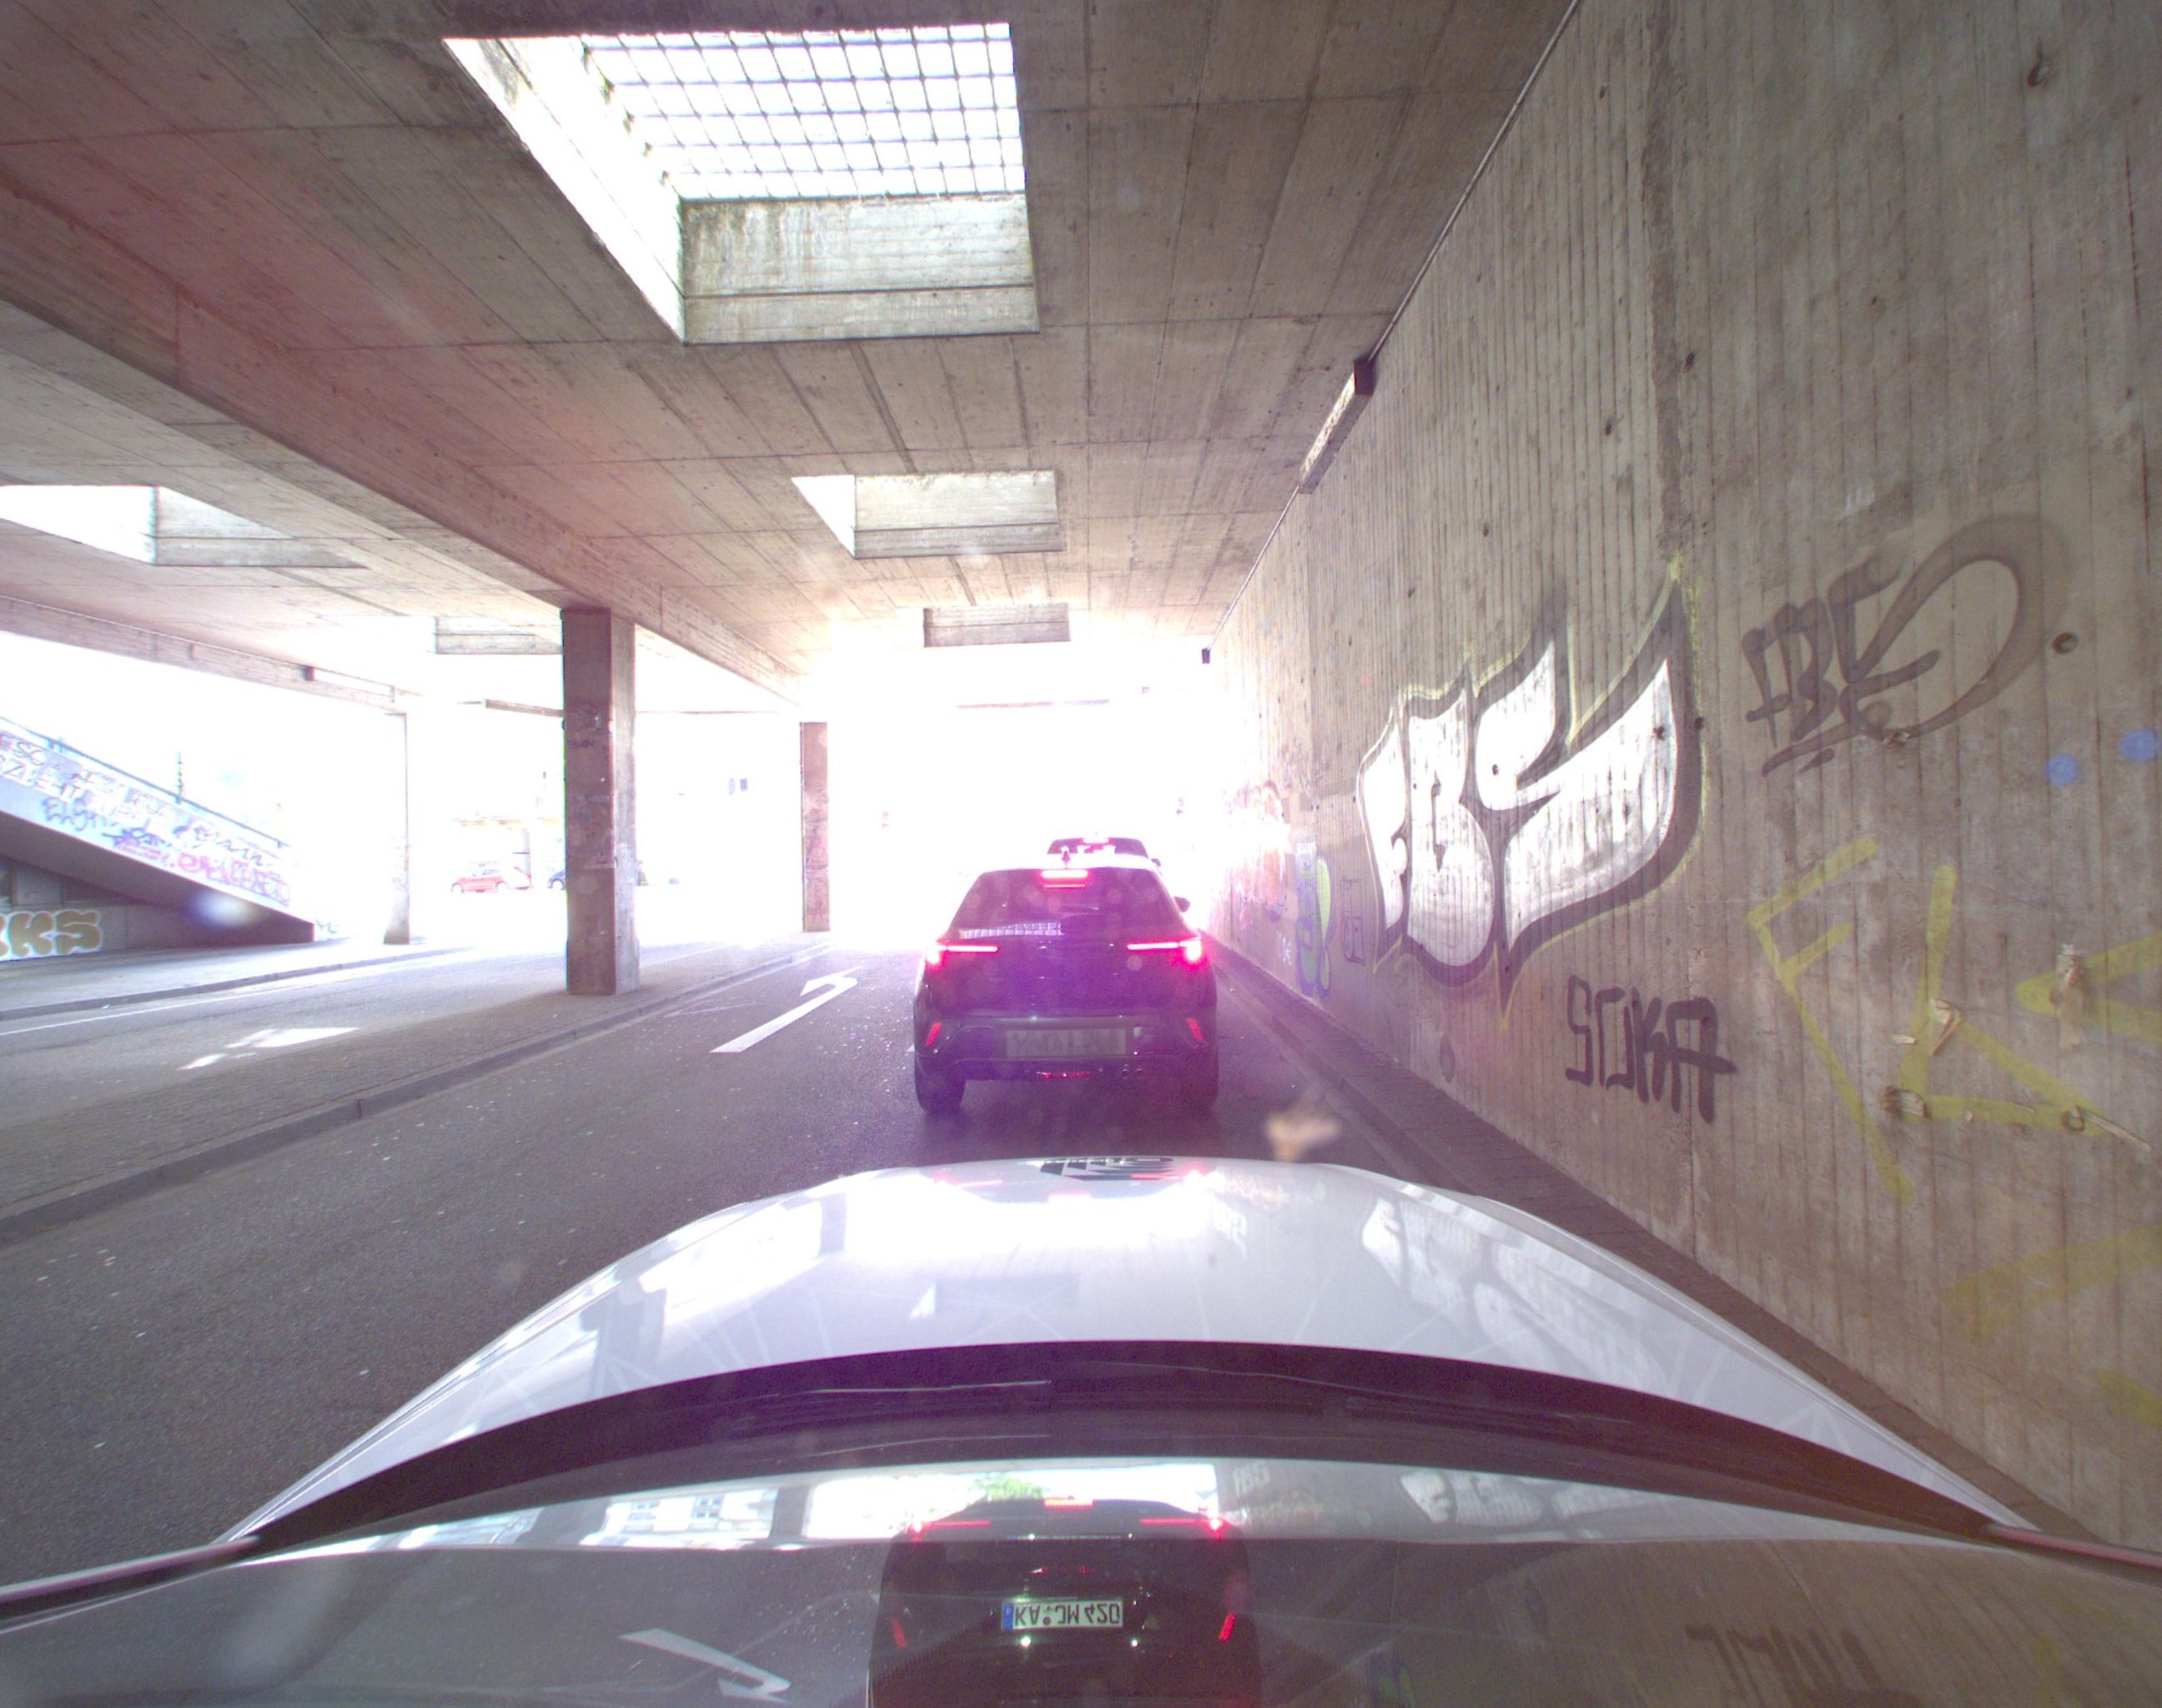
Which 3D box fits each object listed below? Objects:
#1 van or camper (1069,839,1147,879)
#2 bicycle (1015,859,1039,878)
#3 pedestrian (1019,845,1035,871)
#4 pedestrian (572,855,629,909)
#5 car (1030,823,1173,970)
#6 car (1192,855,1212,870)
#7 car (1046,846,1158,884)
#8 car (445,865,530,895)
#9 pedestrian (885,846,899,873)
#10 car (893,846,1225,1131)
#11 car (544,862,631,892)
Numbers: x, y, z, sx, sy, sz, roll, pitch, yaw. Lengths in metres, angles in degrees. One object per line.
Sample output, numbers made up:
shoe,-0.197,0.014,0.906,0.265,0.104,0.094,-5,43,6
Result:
van or camper,1.458,0.276,43.435,3.854,2.013,2.005,-1,0,9
bicycle,-3.417,0.889,51.580,0.730,1.130,2.036,-2,0,19
pedestrian,-3.401,0.255,51.667,0.729,1.585,0.894,0,-1,18
pedestrian,-15.976,0.930,27.118,1.103,1.737,1.146,-1,0,15
car,0.331,0.538,12.221,1.779,1.833,3.962,-1,0,2
car,13.807,0.960,92.725,1.981,1.641,4.607,-2,0,11
car,0.999,0.469,36.570,4.753,1.534,1.979,-1,0,-34
car,-32.850,1.421,45.115,3.519,1.506,1.563,-1,0,2
pedestrian,-12.239,0.370,52.620,0.618,1.705,0.726,0,-1,14
car,-0.042,0.708,6.296,1.746,1.498,4.002,0,0,2
car,-27.396,1.273,45.292,3.742,1.508,1.752,-2,0,0
